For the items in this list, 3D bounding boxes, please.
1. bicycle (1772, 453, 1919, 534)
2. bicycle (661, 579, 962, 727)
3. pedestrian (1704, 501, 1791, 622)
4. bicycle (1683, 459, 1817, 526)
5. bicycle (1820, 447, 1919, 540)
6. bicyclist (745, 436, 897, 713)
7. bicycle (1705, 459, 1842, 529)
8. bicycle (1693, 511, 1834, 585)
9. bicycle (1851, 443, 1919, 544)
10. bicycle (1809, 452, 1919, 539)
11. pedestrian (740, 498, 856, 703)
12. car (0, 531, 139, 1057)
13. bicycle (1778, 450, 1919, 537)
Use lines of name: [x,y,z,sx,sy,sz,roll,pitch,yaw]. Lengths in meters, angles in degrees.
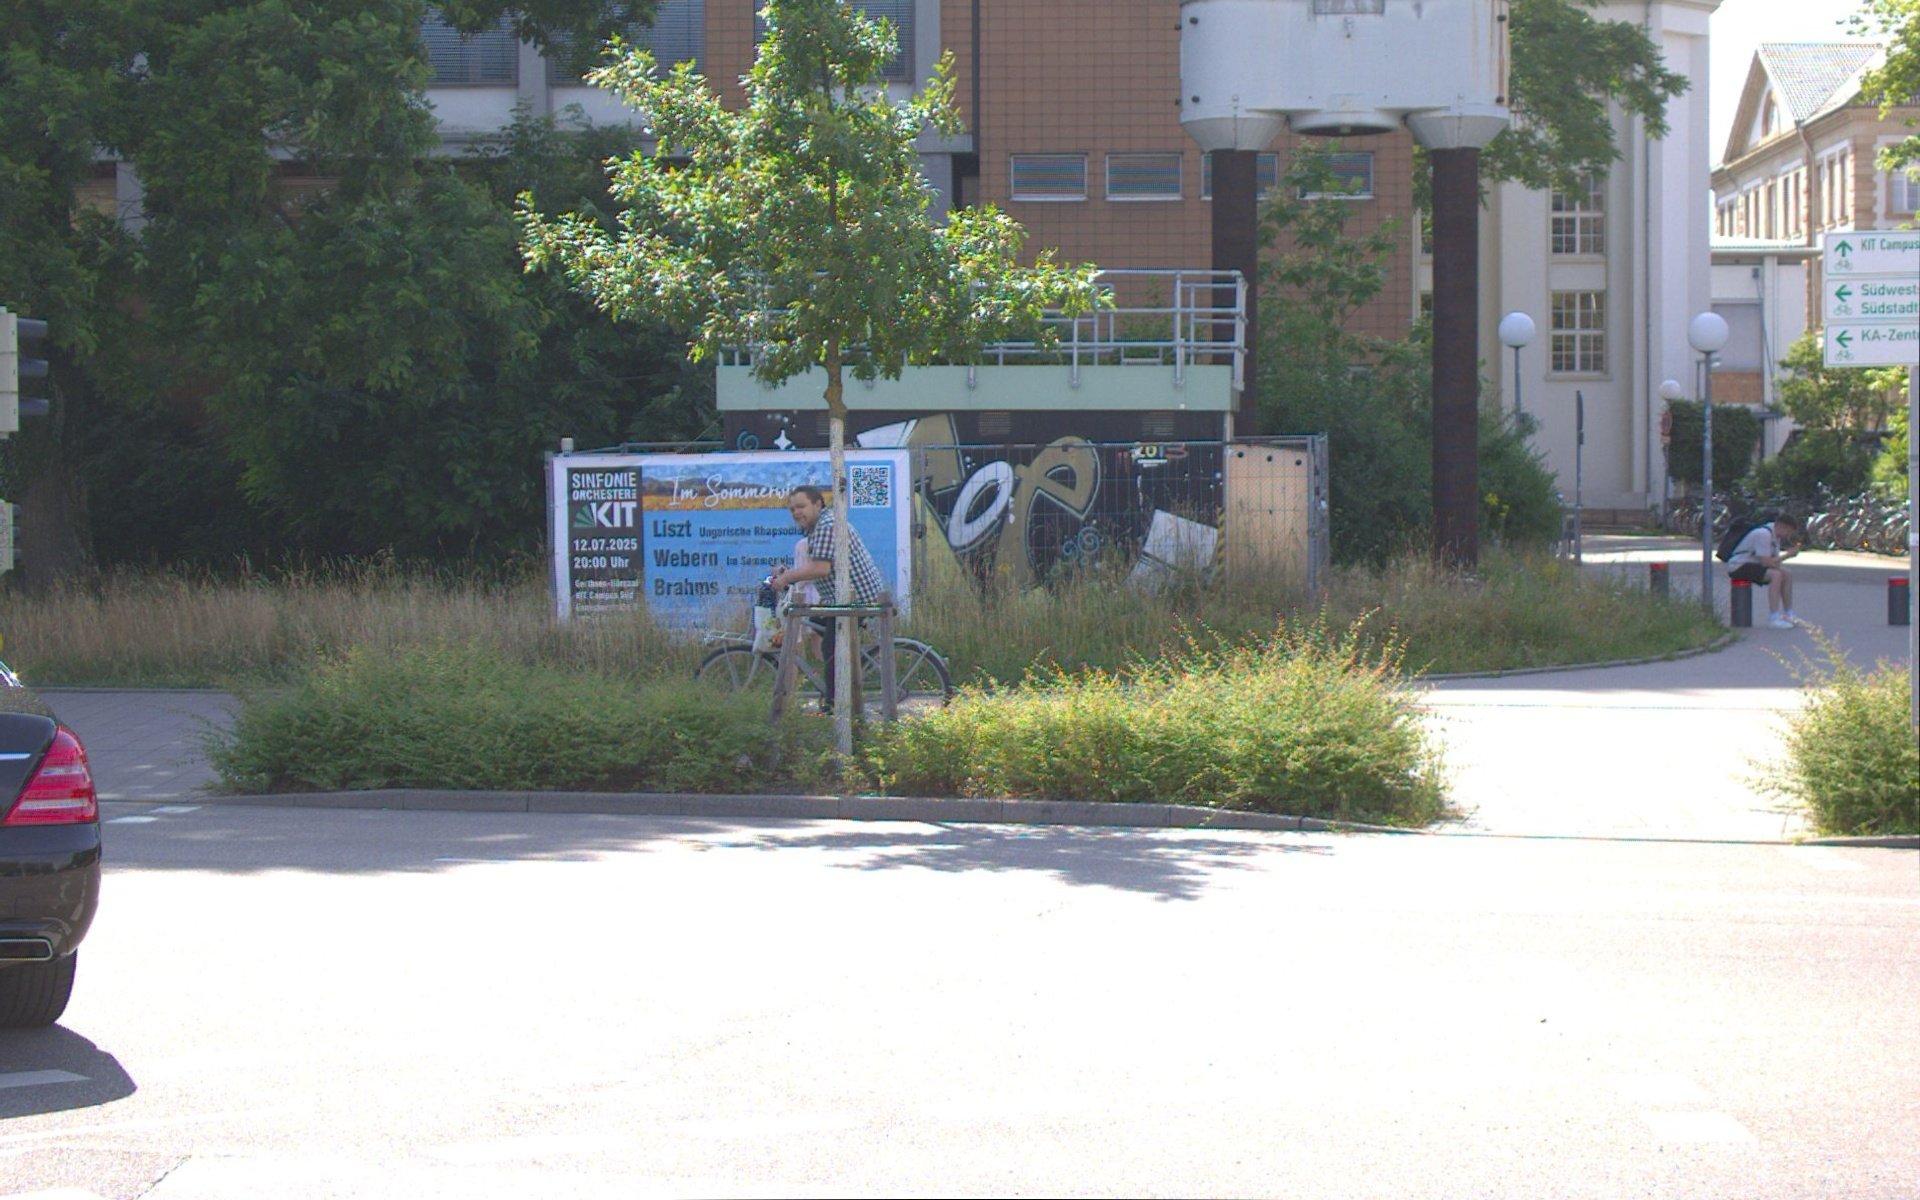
bicycle: [17.651,-2.127,68.363,2.823,1.581,0.841,0,2,3]
bicycle: [-1.025,0.364,23.886,1.952,0.943,0.694,-2,2,10]
pedestrian: [8.126,-0.404,35.498,0.793,1.209,0.757,3,2,10]
bicycle: [17.786,-2.425,77.434,2.823,1.475,0.841,0,2,3]
bicycle: [17.722,-2.018,64.825,2.823,1.738,0.841,0,2,3]
bicyclist: [-0.958,-0.186,23.850,0.857,1.872,0.688,-2,2,10]
bicycle: [17.871,-2.331,75.597,2.823,1.495,0.841,0,2,3]
bicycle: [17.222,-1.117,73.716,2.823,1.553,0.841,0,2,3]
bicycle: [17.732,-1.949,62.561,2.823,1.830,0.841,0,2,3]
bicycle: [17.878,-2.019,66.239,2.823,1.643,0.841,0,2,3]
pedestrian: [-1.258,-0.008,26.772,0.811,1.574,0.692,0,2,5]
car: [-4.459,0.561,11.777,1.859,1.525,4.714,-2,2,-31]
bicycle: [17.519,-2.081,67.302,2.823,1.653,0.842,0,3,3]
